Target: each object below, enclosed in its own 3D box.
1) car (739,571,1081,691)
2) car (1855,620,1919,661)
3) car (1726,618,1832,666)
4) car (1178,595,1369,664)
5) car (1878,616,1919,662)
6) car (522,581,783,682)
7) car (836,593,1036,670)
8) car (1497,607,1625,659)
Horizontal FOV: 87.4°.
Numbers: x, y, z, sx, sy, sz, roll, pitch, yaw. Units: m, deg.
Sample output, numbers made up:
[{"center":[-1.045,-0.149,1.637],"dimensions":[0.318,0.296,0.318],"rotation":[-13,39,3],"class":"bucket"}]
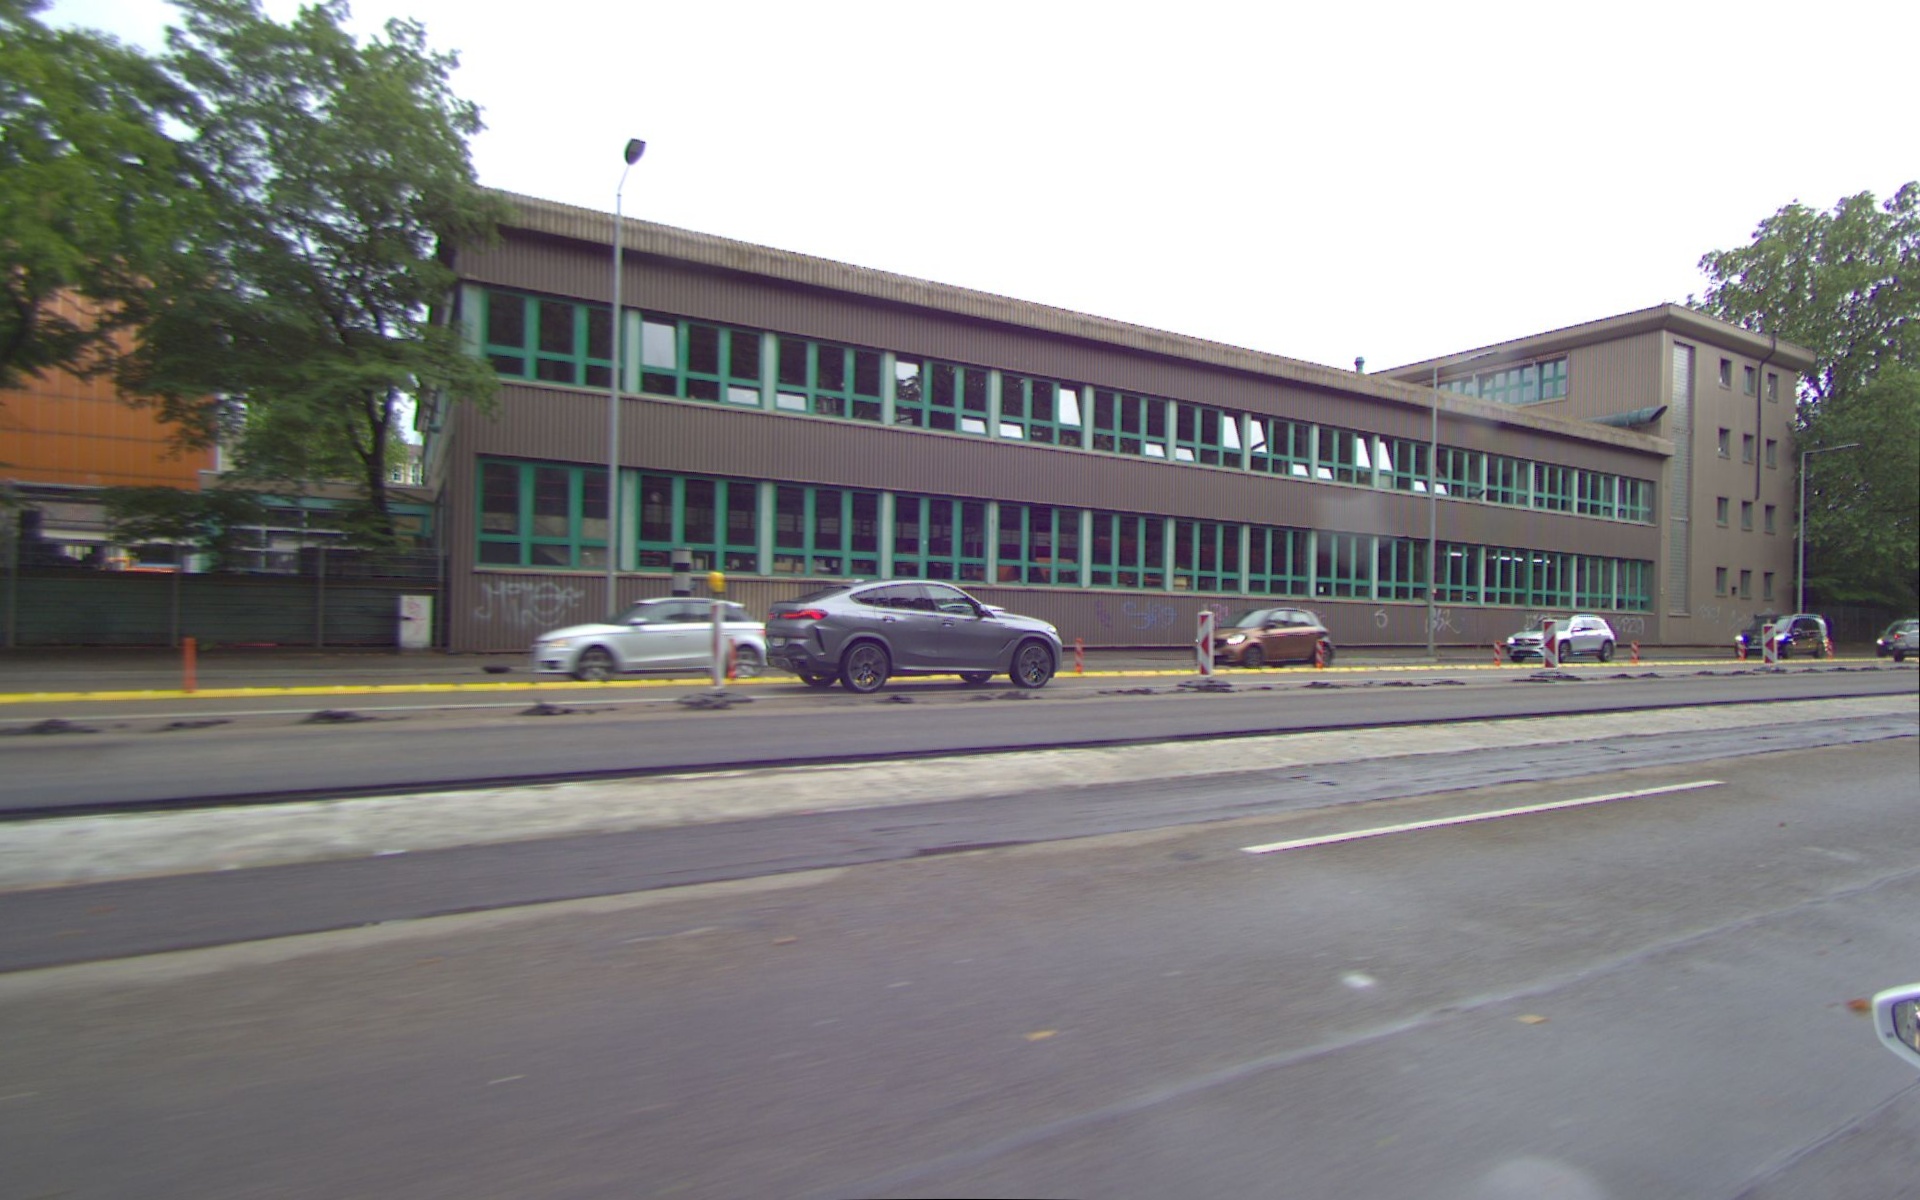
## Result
[{"center":[-0.725,0.483,15.852],"dimensions":[4.999,1.634,2.066],"rotation":[2,0,-31],"class":"car"},{"center":[44.088,1.902,46.810],"dimensions":[4.893,1.804,1.985],"rotation":[2,0,-29],"class":"car"},{"center":[36.415,1.885,44.644],"dimensions":[5.304,1.944,1.983],"rotation":[2,0,-32],"class":"car"},{"center":[7.658,0.732,24.461],"dimensions":[4.461,1.522,1.886],"rotation":[2,0,-29],"class":"car"},{"center":[37.254,1.525,38.565],"dimensions":[3.954,1.670,1.845],"rotation":[2,0,-31],"class":"car"},{"center":[-5.235,0.535,17.202],"dimensions":[3.945,1.555,1.795],"rotation":[2,0,-31],"class":"car"},{"center":[-0.533,0.730,23.095],"dimensions":[4.131,1.607,1.984],"rotation":[2,0,-31],"class":"car"},{"center":[21.791,1.213,36.373],"dimensions":[4.880,1.729,1.927],"rotation":[2,0,-32],"class":"car"}]
